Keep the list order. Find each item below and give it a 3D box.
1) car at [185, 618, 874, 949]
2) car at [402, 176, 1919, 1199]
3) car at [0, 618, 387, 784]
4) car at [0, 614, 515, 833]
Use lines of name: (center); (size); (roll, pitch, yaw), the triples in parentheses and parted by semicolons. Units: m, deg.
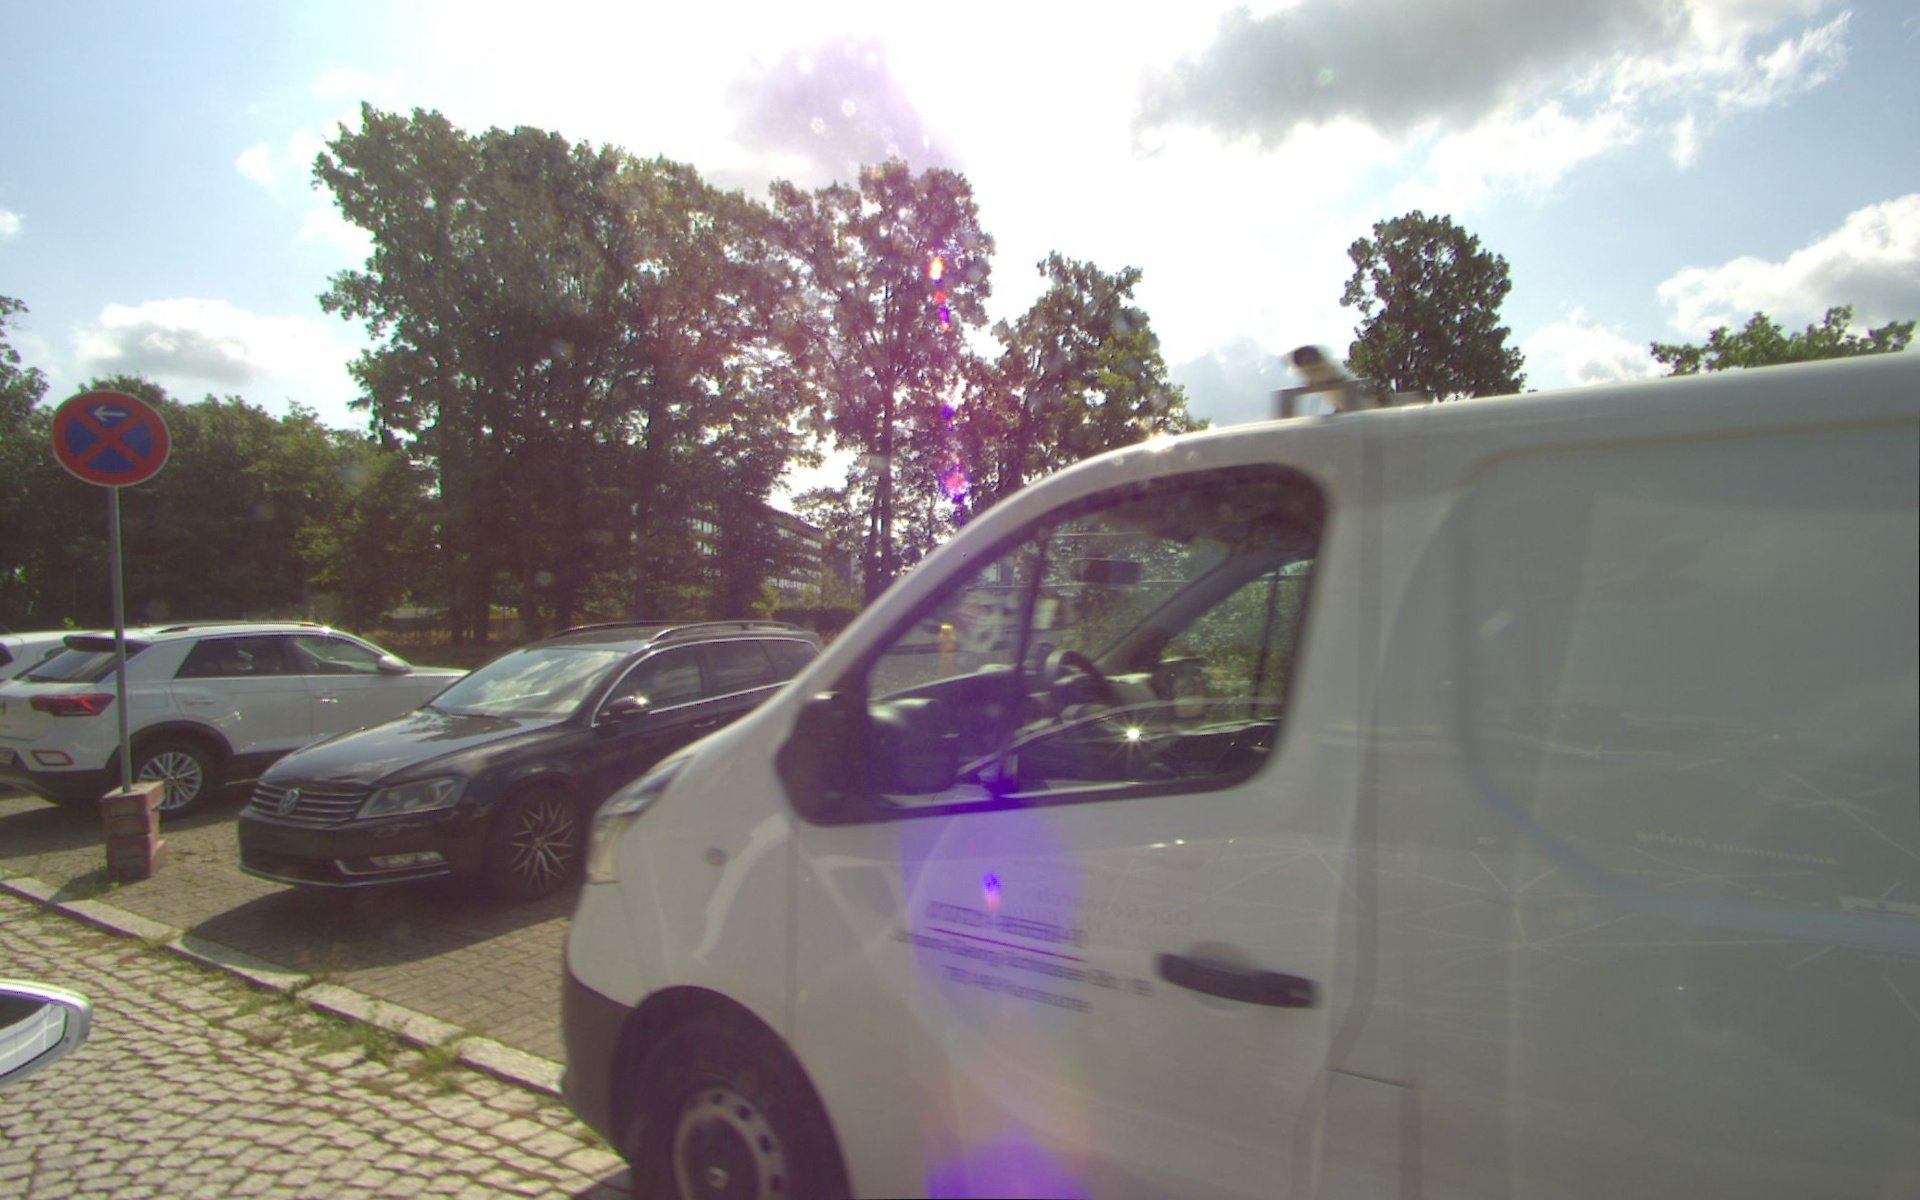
car: (-2.521, 0.922, 7.141); (1.718, 1.494, 4.451); (-1, 0, 27)
car: (1.303, 0.587, 2.107); (5.598, 2.080, 1.910); (-1, -1, 32)
car: (-8.895, 0.979, 11.209); (1.678, 1.483, 4.038); (-1, 0, 28)
car: (-6.467, 0.928, 9.388); (1.720, 1.527, 3.983); (-1, 0, 28)
